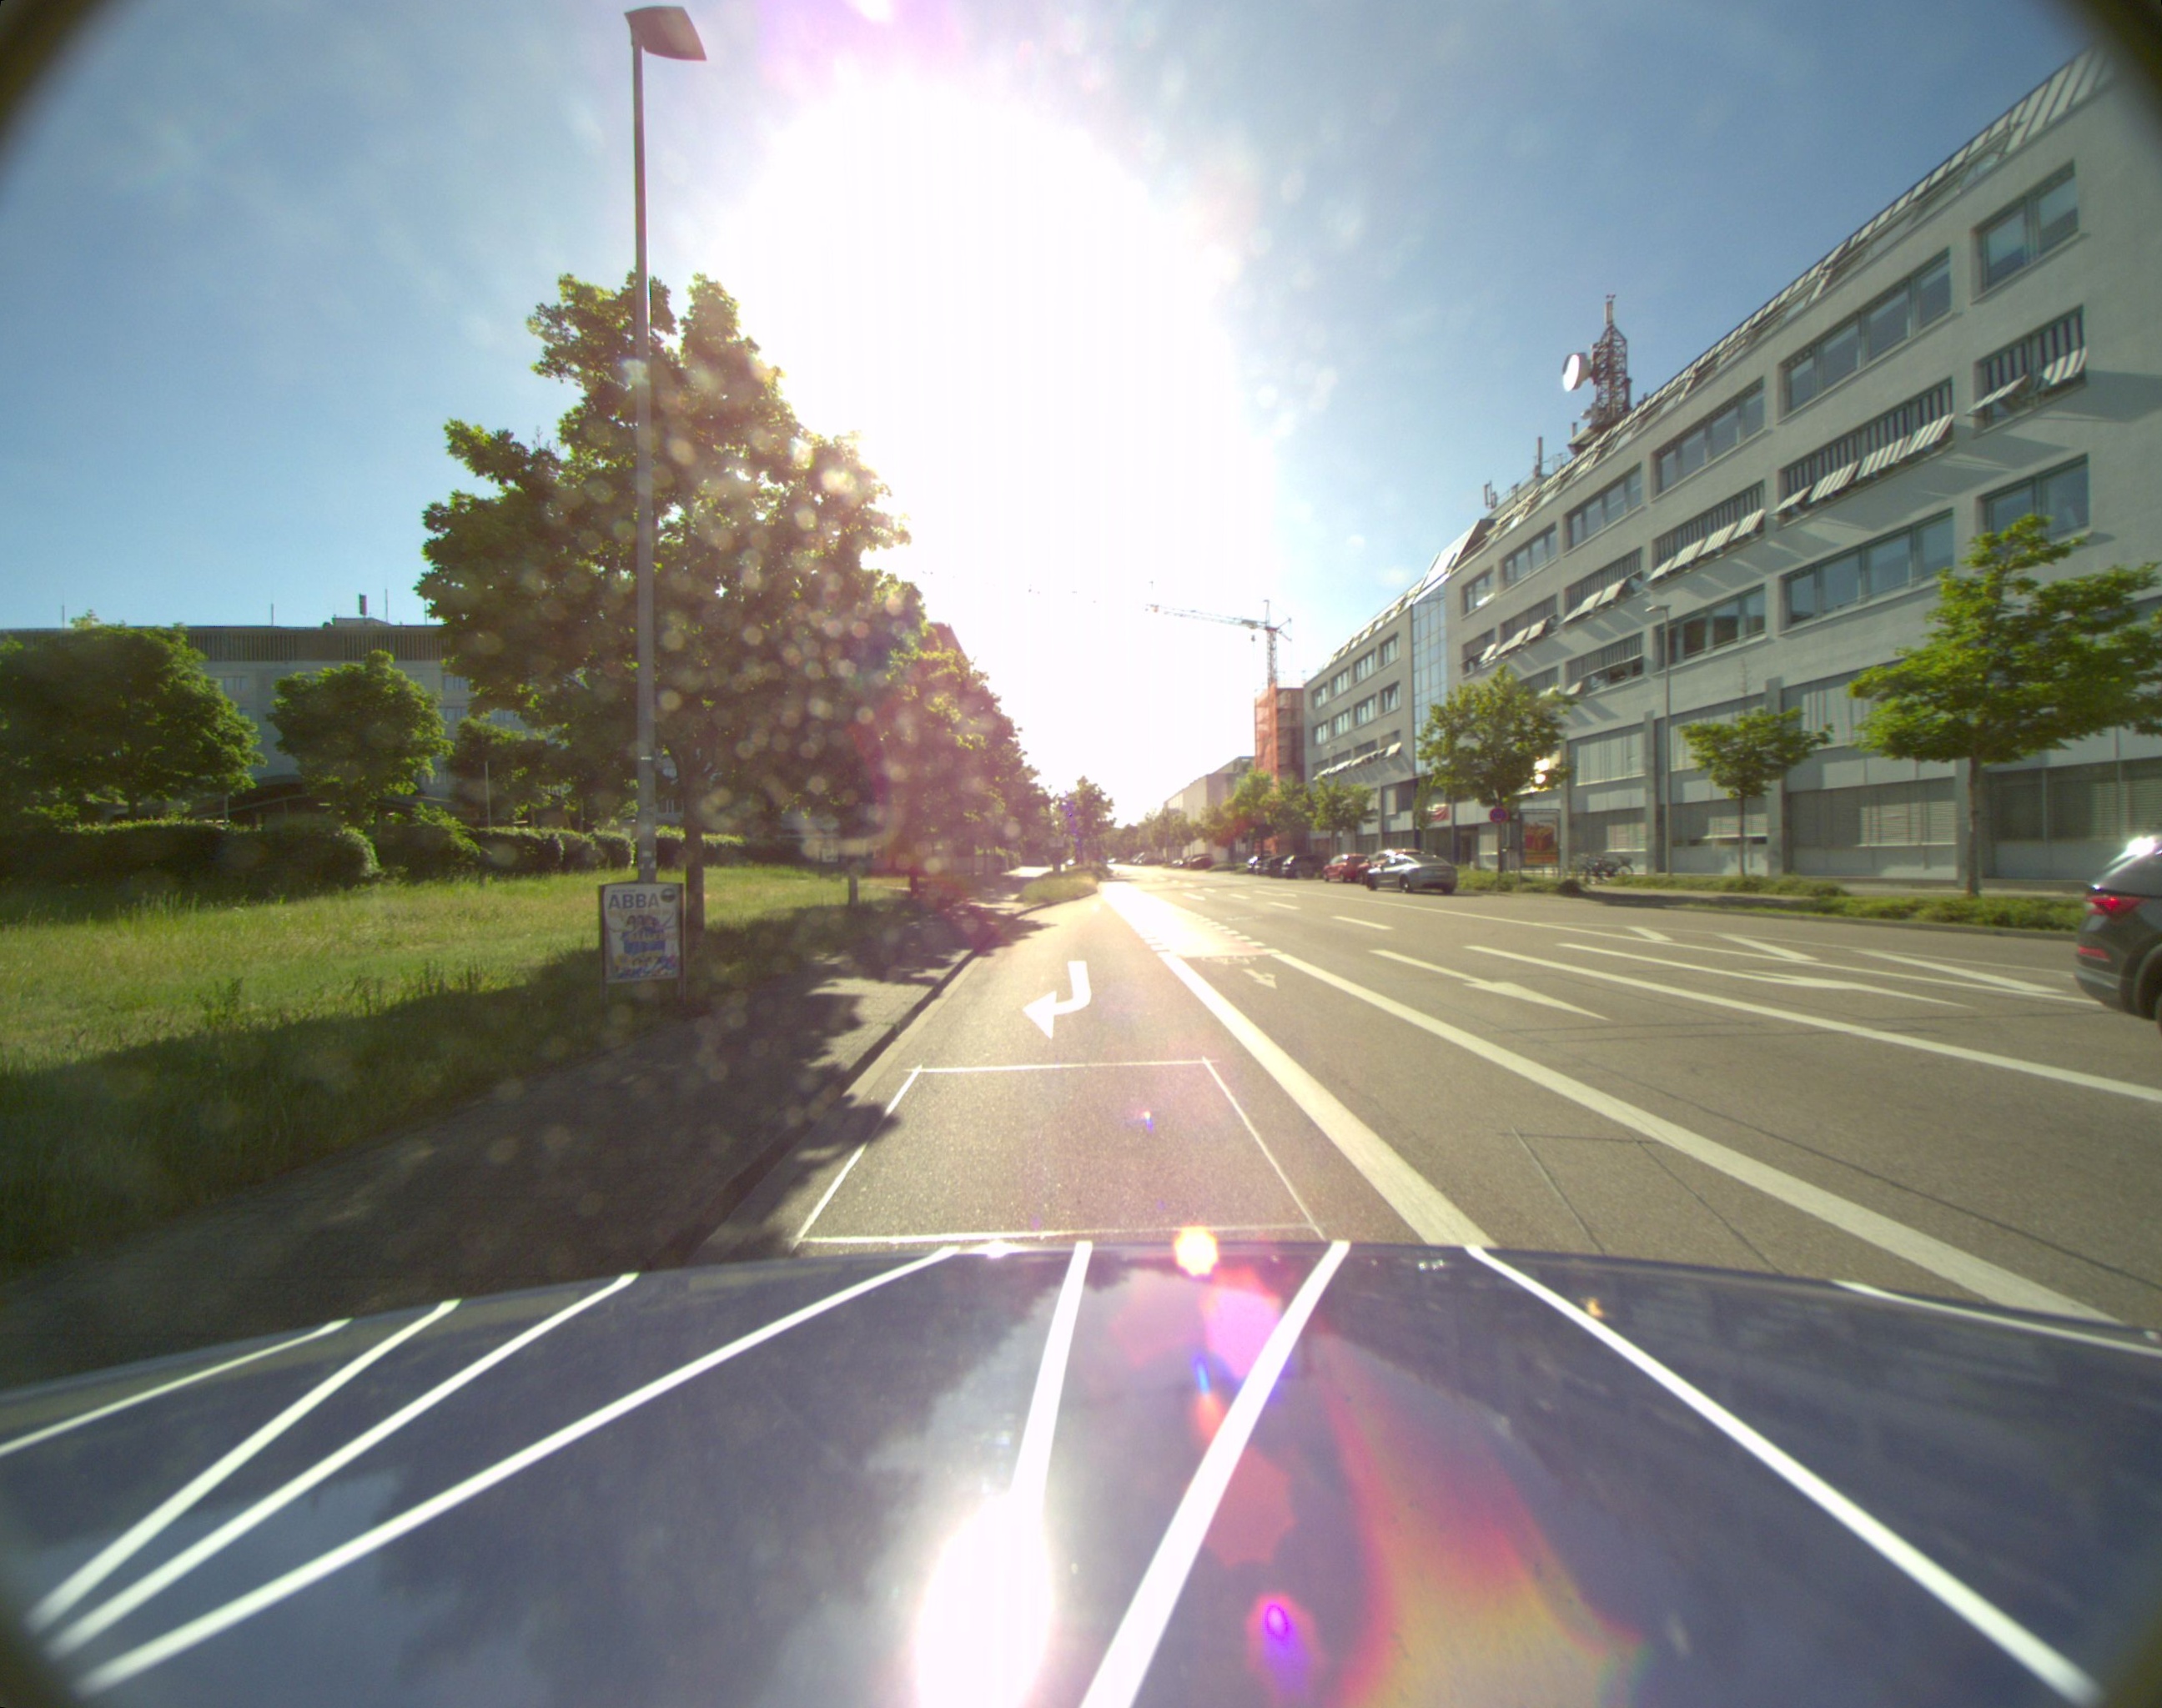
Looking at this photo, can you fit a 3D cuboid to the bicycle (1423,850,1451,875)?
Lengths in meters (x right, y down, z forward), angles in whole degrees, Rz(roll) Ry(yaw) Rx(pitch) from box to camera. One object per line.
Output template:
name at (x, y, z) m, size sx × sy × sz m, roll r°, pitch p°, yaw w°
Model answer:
bicycle at (20.017, 0.462, 42.800) m, size 0.710 × 1.339 × 2.233 m, roll 0°, pitch 0°, yaw 5°

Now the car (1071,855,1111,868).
car at (1.108, 0.806, 86.024) m, size 4.413 × 1.454 × 1.895 m, roll 0°, pitch 0°, yaw -1°

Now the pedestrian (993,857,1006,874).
pedestrian at (-6.031, 0.842, 56.157) m, size 0.847 × 1.210 × 0.728 m, roll 0°, pitch 0°, yaw -13°

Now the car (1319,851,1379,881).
car at (14.152, 0.606, 40.339) m, size 1.692 × 1.423 × 3.871 m, roll -3°, pitch 0°, yaw -1°

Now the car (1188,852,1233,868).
car at (13.827, 0.612, 81.392) m, size 4.398 × 1.423 × 1.977 m, roll -3°, pitch 0°, yaw -4°

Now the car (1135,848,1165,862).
car at (13.226, 0.211, 146.602) m, size 5.583 × 2.468 × 2.010 m, roll -3°, pitch 0°, yaw 2°

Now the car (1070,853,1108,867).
car at (0.905, 0.690, 88.306) m, size 4.413 × 1.631 × 2.074 m, roll 0°, pitch 0°, yaw -1°

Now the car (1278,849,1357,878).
car at (14.875, 0.572, 47.848) m, size 4.398 × 1.529 × 1.693 m, roll -3°, pitch 0°, yaw -5°

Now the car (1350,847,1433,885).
car at (14.348, 0.533, 35.388) m, size 1.693 × 1.597 × 4.308 m, roll -3°, pitch 0°, yaw -5°

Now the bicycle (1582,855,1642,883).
bicycle at (20.246, 0.557, 28.986) m, size 1.792 × 1.063 × 0.622 m, roll 0°, pitch 1°, yaw 7°

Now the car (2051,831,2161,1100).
car at (7.483, 0.648, 2.900) m, size 1.758 × 1.618 × 4.477 m, roll -3°, pitch 0°, yaw -1°

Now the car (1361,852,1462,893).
car at (12.626, 0.674, 29.369) m, size 1.693 × 1.460 × 4.546 m, roll 0°, pitch 0°, yaw -4°

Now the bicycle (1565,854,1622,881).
bicycle at (20.057, 0.518, 29.758) m, size 1.770 × 1.063 × 0.556 m, roll 0°, pitch 1°, yaw 7°

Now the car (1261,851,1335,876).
car at (14.488, 0.629, 50.894) m, size 4.397 × 1.423 × 1.693 m, roll -3°, pitch 0°, yaw -3°

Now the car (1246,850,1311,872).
car at (14.862, 0.534, 57.325) m, size 4.398 × 1.423 × 1.692 m, roll -3°, pitch 0°, yaw -6°

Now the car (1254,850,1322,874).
car at (14.954, 0.558, 54.982) m, size 4.398 × 1.423 × 1.693 m, roll -3°, pitch 0°, yaw -6°
